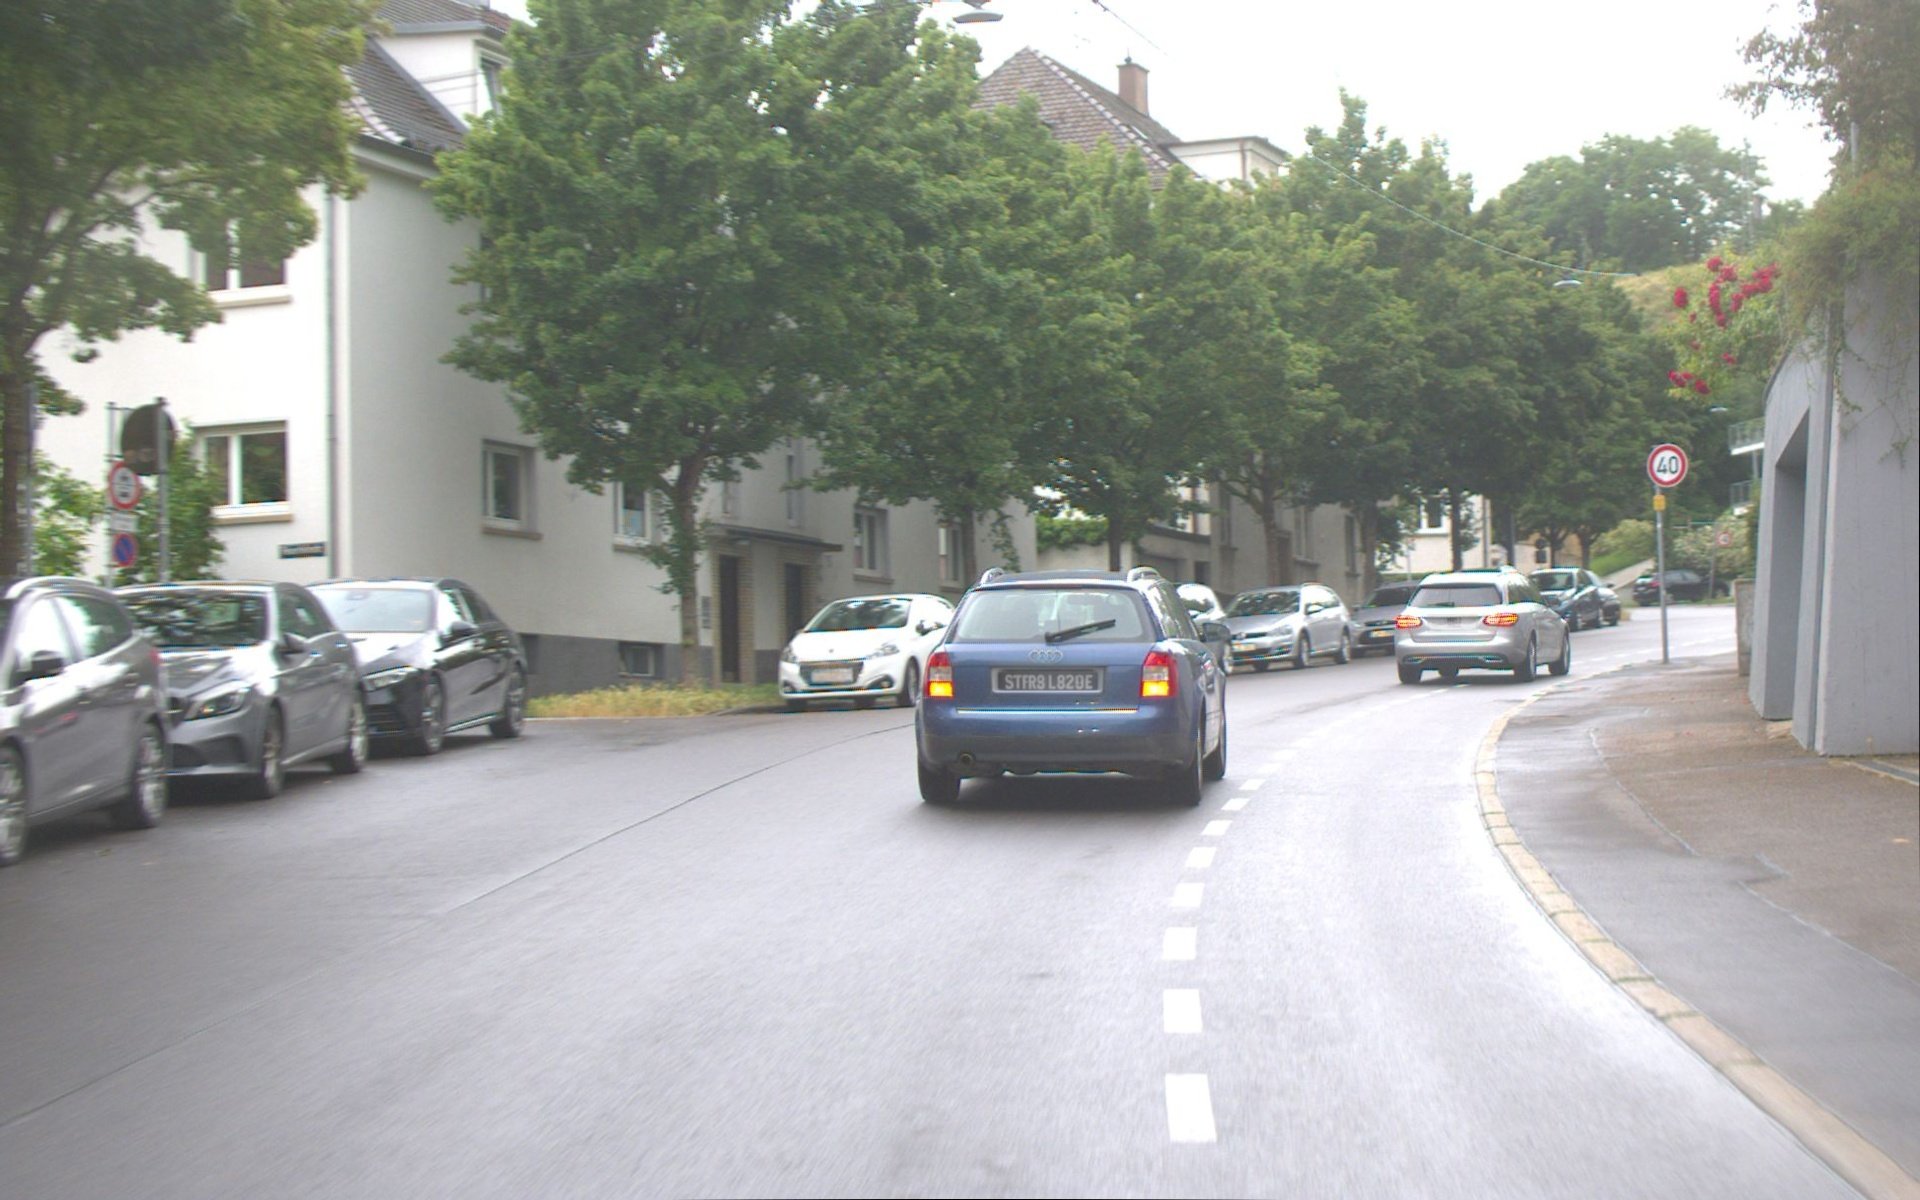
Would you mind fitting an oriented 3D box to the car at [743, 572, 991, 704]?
[{"bbox_3d":[-1.146,0.507,44.598,1.786,1.509,4.342,-4,-2,18],"label":"car"}]

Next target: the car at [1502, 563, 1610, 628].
[{"bbox_3d":[14.396,-0.121,82.921,1.714,1.457,3.876,0,2,23],"label":"car"}]

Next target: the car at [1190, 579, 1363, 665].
[{"bbox_3d":[5.574,0.402,60.090,1.806,1.448,4.591,-1,-1,21],"label":"car"}]

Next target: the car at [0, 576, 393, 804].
[{"bbox_3d":[-5.140,0.549,23.705,1.614,1.392,4.323,-1,1,2],"label":"car"}]

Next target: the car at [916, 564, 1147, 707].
[{"bbox_3d":[1.107,0.529,50.464,1.916,1.994,4.543,-1,-1,22],"label":"car"}]

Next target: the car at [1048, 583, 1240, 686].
[{"bbox_3d":[2.994,0.553,55.086,1.806,1.481,4.231,-4,-2,20],"label":"car"}]

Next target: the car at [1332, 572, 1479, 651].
[{"bbox_3d":[9.107,0.255,70.028,1.806,1.547,4.794,-1,-1,22],"label":"car"}]

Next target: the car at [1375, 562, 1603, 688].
[{"bbox_3d":[7.183,0.291,46.345,1.952,1.556,4.258,2,1,24],"label":"car"}]

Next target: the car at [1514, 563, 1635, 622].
[{"bbox_3d":[15.605,-0.177,87.533,1.993,1.386,4.198,-2,-1,-4],"label":"car"}]

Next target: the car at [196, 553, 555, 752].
[{"bbox_3d":[-4.794,0.399,28.873,1.775,1.535,4.515,0,0,7],"label":"car"}]

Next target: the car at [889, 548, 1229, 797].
[{"bbox_3d":[0.745,0.407,22.235,1.854,1.409,4.360,-2,0,6],"label":"car"}]

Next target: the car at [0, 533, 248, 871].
[{"bbox_3d":[-5.526,0.500,18.547,1.854,1.684,4.553,0,0,8],"label":"car"}]
